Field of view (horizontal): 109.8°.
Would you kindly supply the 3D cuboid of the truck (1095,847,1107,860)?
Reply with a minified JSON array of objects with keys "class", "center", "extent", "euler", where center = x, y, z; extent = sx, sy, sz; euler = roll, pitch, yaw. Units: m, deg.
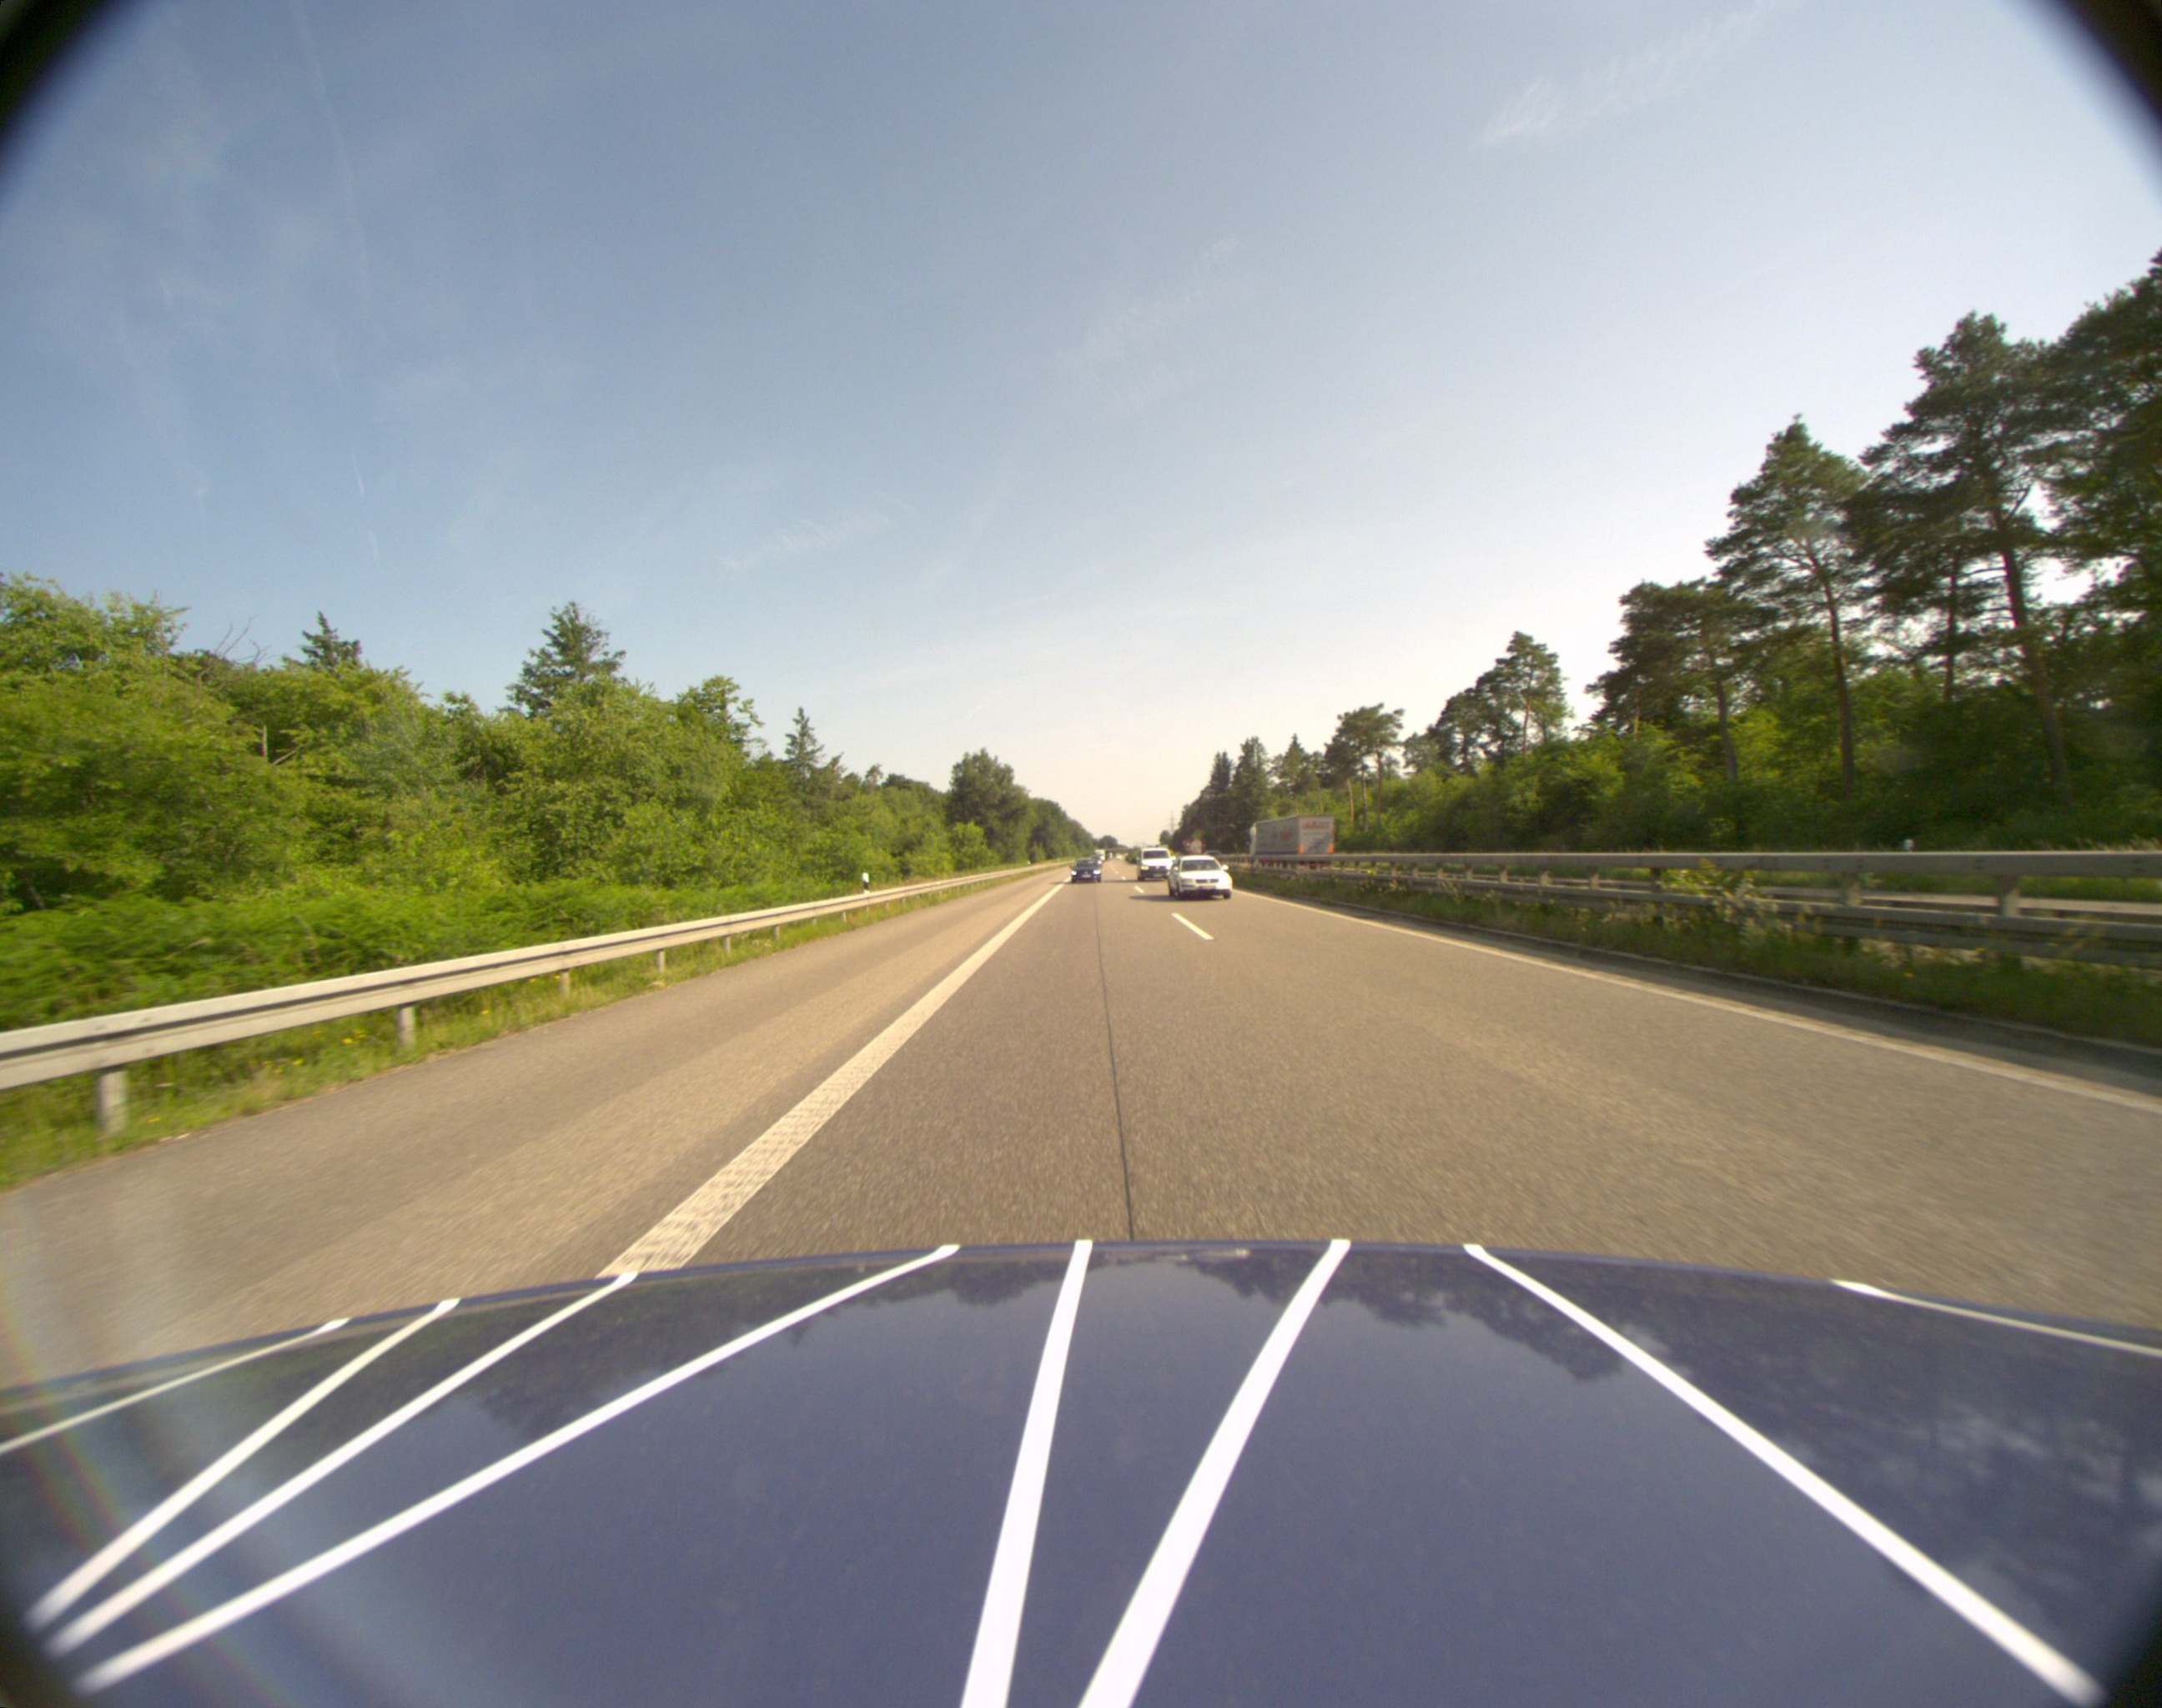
[{"class":"truck","center":[5.001,-0.218,190.053],"extent":[2.694,3.020,10.372],"euler":[-2,0,1]}]

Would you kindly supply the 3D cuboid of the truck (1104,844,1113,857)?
[{"class":"truck","center":[8.854,-1.070,246.432],"extent":[2.694,4.061,12.365],"euler":[-2,0,1]}]

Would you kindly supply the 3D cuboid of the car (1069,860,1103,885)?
[{"class":"car","center":[0.308,1.019,43.143],"extent":[1.788,1.285,3.539],"euler":[-2,0,2]}]

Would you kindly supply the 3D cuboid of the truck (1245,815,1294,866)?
[{"class":"truck","center":[16.418,-1.141,66.497],"extent":[2.845,4.171,5.546],"euler":[-1,0,0]}]

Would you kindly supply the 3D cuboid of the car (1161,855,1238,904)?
[{"class":"car","center":[4.033,0.797,26.733],"extent":[1.754,1.477,5.263],"euler":[-2,0,-1]}]

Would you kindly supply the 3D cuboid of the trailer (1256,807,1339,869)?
[{"class":"trailer","center":[16.388,-1.131,58.605],"extent":[2.840,4.184,12.410],"euler":[-1,0,0]}]

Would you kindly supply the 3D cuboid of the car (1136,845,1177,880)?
[{"class":"car","center":[4.442,0.491,45.365],"extent":[1.912,1.934,4.706],"euler":[-2,0,0]}]

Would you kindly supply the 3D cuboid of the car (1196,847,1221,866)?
[{"class":"car","center":[12.105,0.238,72.249],"extent":[1.690,1.679,4.168],"euler":[-2,0,1]}]

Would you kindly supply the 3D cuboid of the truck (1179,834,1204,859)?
[{"class":"truck","center":[19.319,-1.295,132.669],"extent":[3.275,4.016,6.232],"euler":[-2,1,0]}]

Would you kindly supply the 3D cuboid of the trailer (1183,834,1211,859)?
[{"class":"trailer","center":[19.322,-1.240,127.316],"extent":[3.303,4.016,8.372],"euler":[-2,1,0]}]

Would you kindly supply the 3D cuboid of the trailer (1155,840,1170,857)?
[{"class":"trailer","center":[21.762,-1.448,203.544],"extent":[2.698,4.176,13.081],"euler":[-1,0,1]}]
